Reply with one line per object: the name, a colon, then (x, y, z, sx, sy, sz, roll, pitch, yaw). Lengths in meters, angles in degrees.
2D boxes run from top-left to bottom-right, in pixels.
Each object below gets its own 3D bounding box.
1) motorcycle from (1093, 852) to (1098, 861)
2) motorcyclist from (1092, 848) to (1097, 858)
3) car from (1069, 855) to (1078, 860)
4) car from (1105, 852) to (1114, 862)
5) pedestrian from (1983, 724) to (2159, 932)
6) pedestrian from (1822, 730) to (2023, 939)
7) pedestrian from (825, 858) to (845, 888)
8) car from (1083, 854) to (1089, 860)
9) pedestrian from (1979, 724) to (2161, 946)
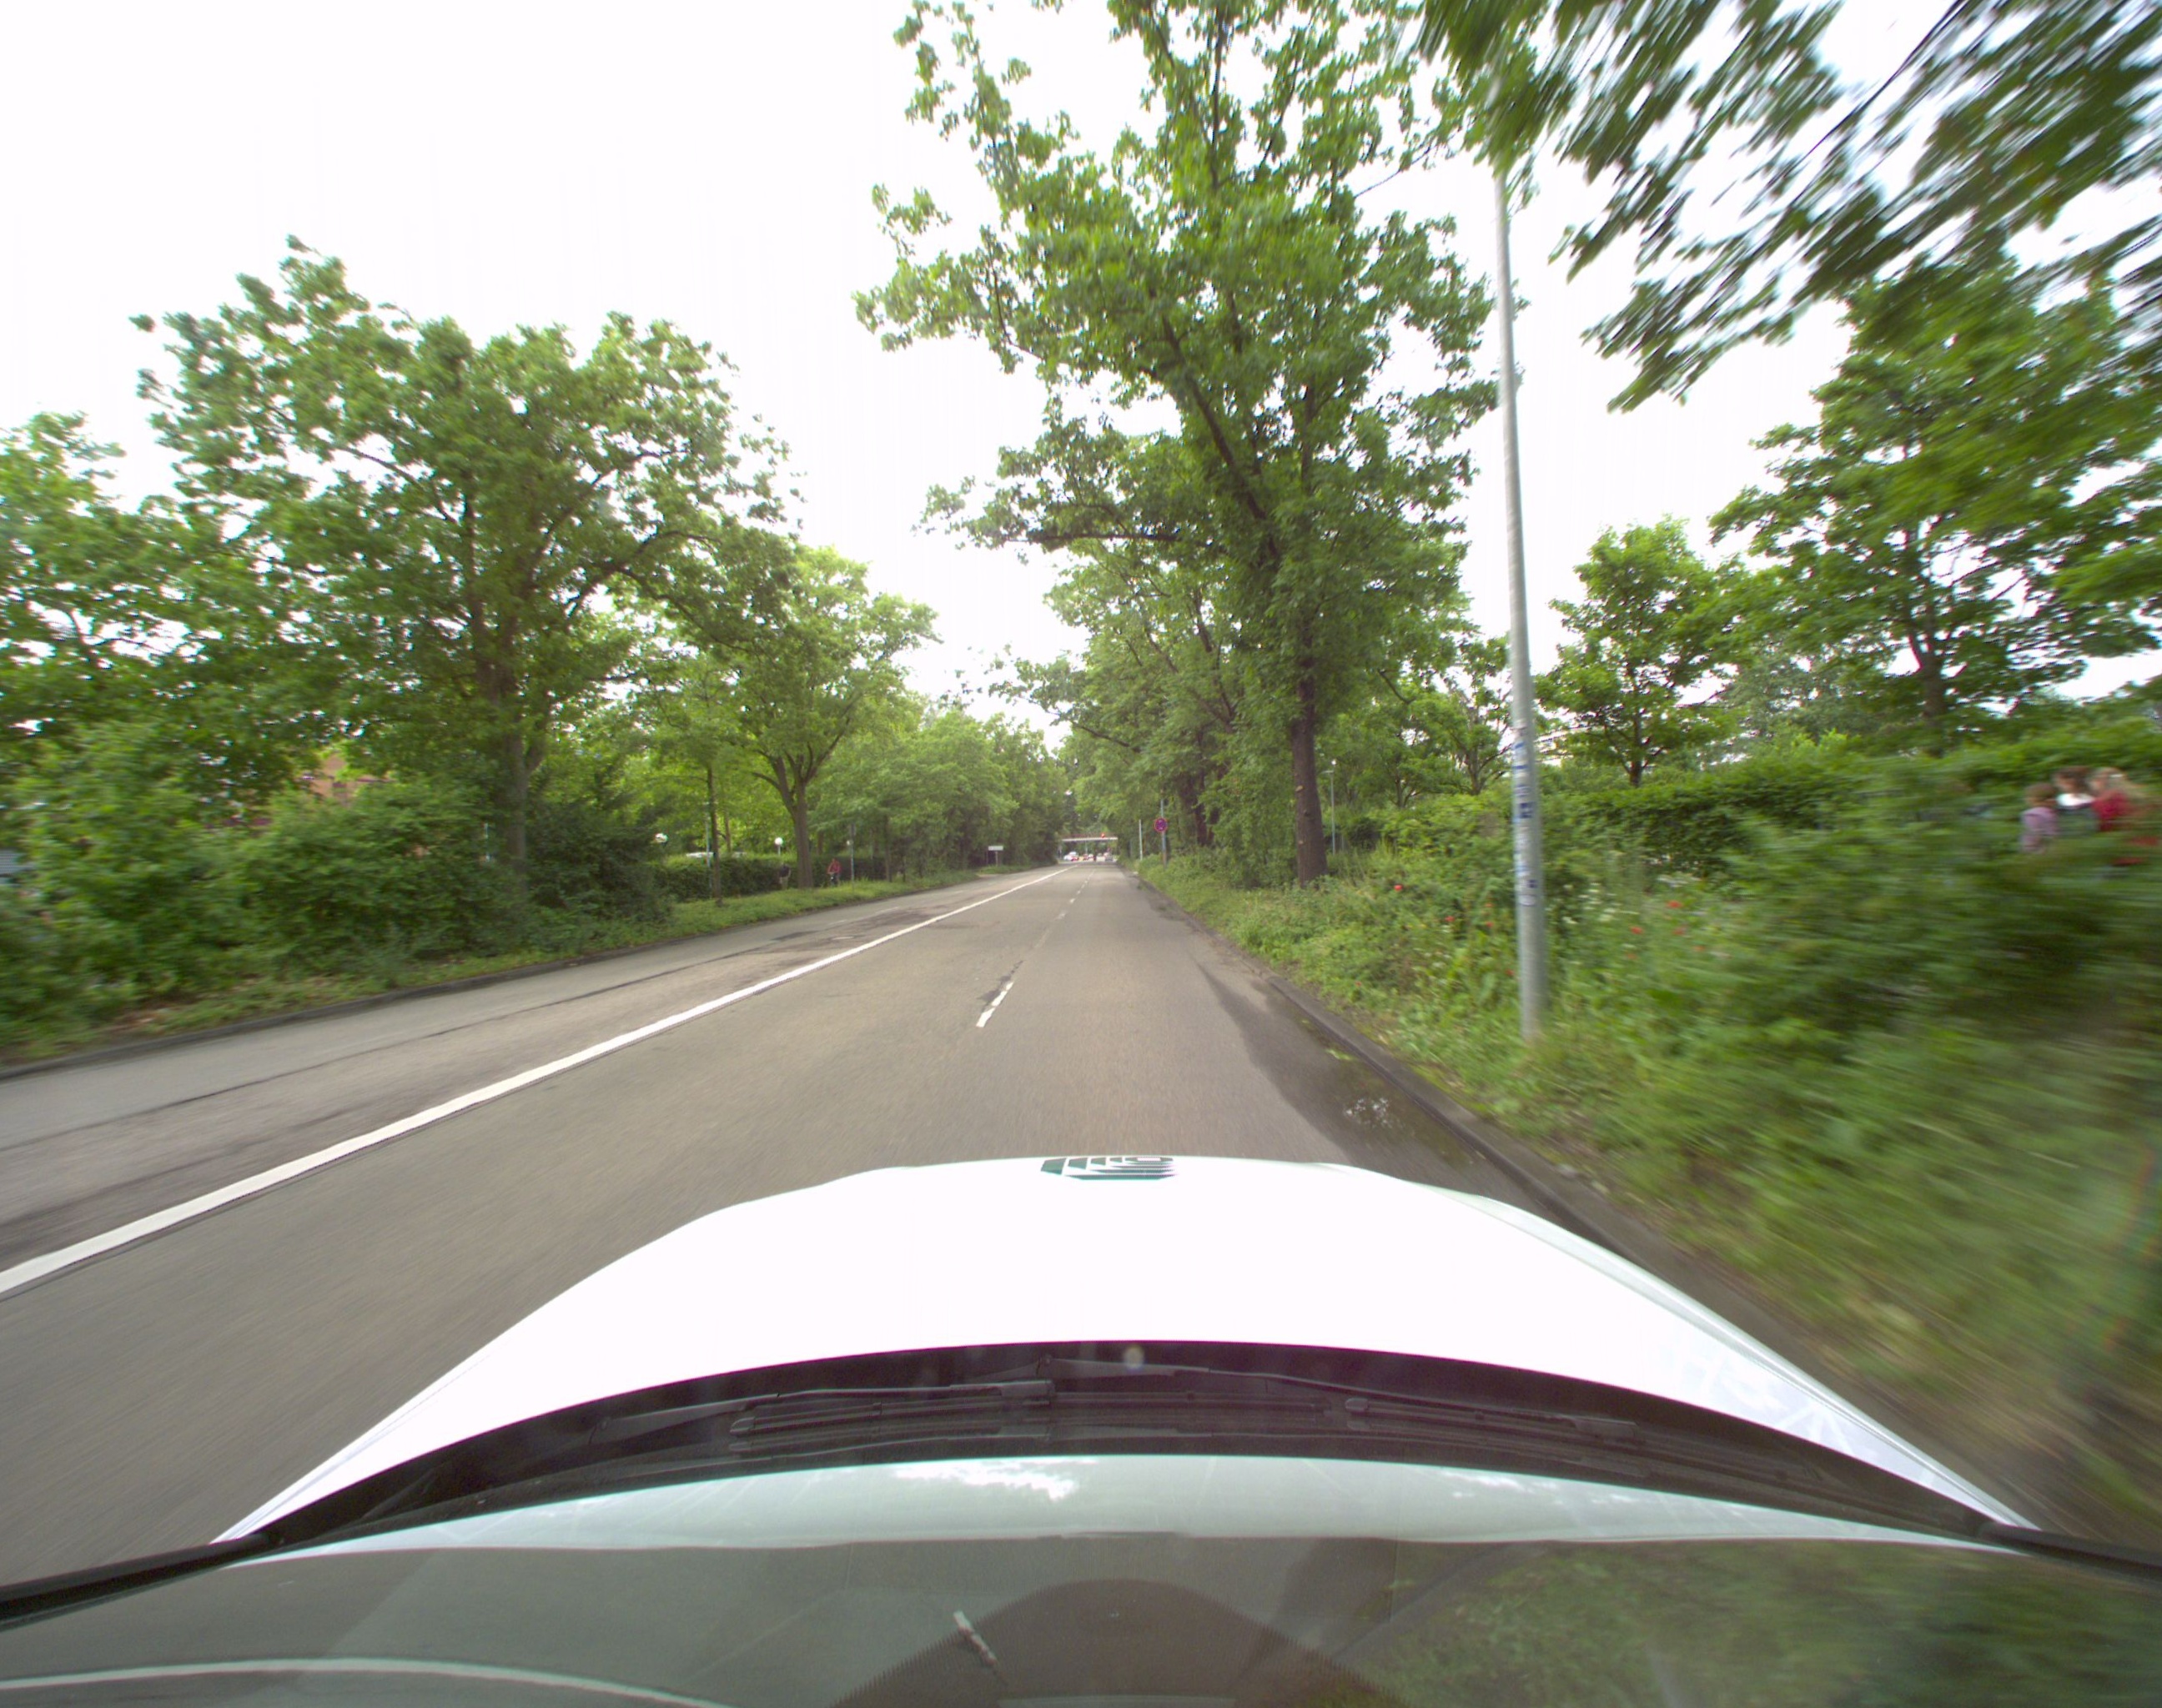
motorcycle: (3.005, 0.574, 174.322, 0.986, 1.936, 2.670, -1, 0, 2)
motorcyclist: (2.956, -0.239, 174.174, 1.059, 2.013, 0.843, -1, 0, 1)
car: (-1.931, 0.873, 217.790, 1.984, 1.354, 3.899, -1, 0, 4)
car: (5.873, 0.524, 170.457, 1.836, 2.013, 4.002, -1, 0, 2)
pedestrian: (10.240, -0.260, 8.456, 0.821, 2.013, 0.720, -4, 0, 1)
pedestrian: (8.754, -0.197, 8.532, 0.923, 2.013, 1.038, -3, 0, -3)
pedestrian: (-13.358, 1.010, 44.191, 0.789, 1.613, 0.848, -1, 0, 2)
car: (1.324, 0.783, 217.703, 1.670, 1.362, 3.918, -1, 0, -2)
pedestrian: (9.655, -0.181, 7.959, 0.821, 2.013, 0.720, -4, 0, 1)
